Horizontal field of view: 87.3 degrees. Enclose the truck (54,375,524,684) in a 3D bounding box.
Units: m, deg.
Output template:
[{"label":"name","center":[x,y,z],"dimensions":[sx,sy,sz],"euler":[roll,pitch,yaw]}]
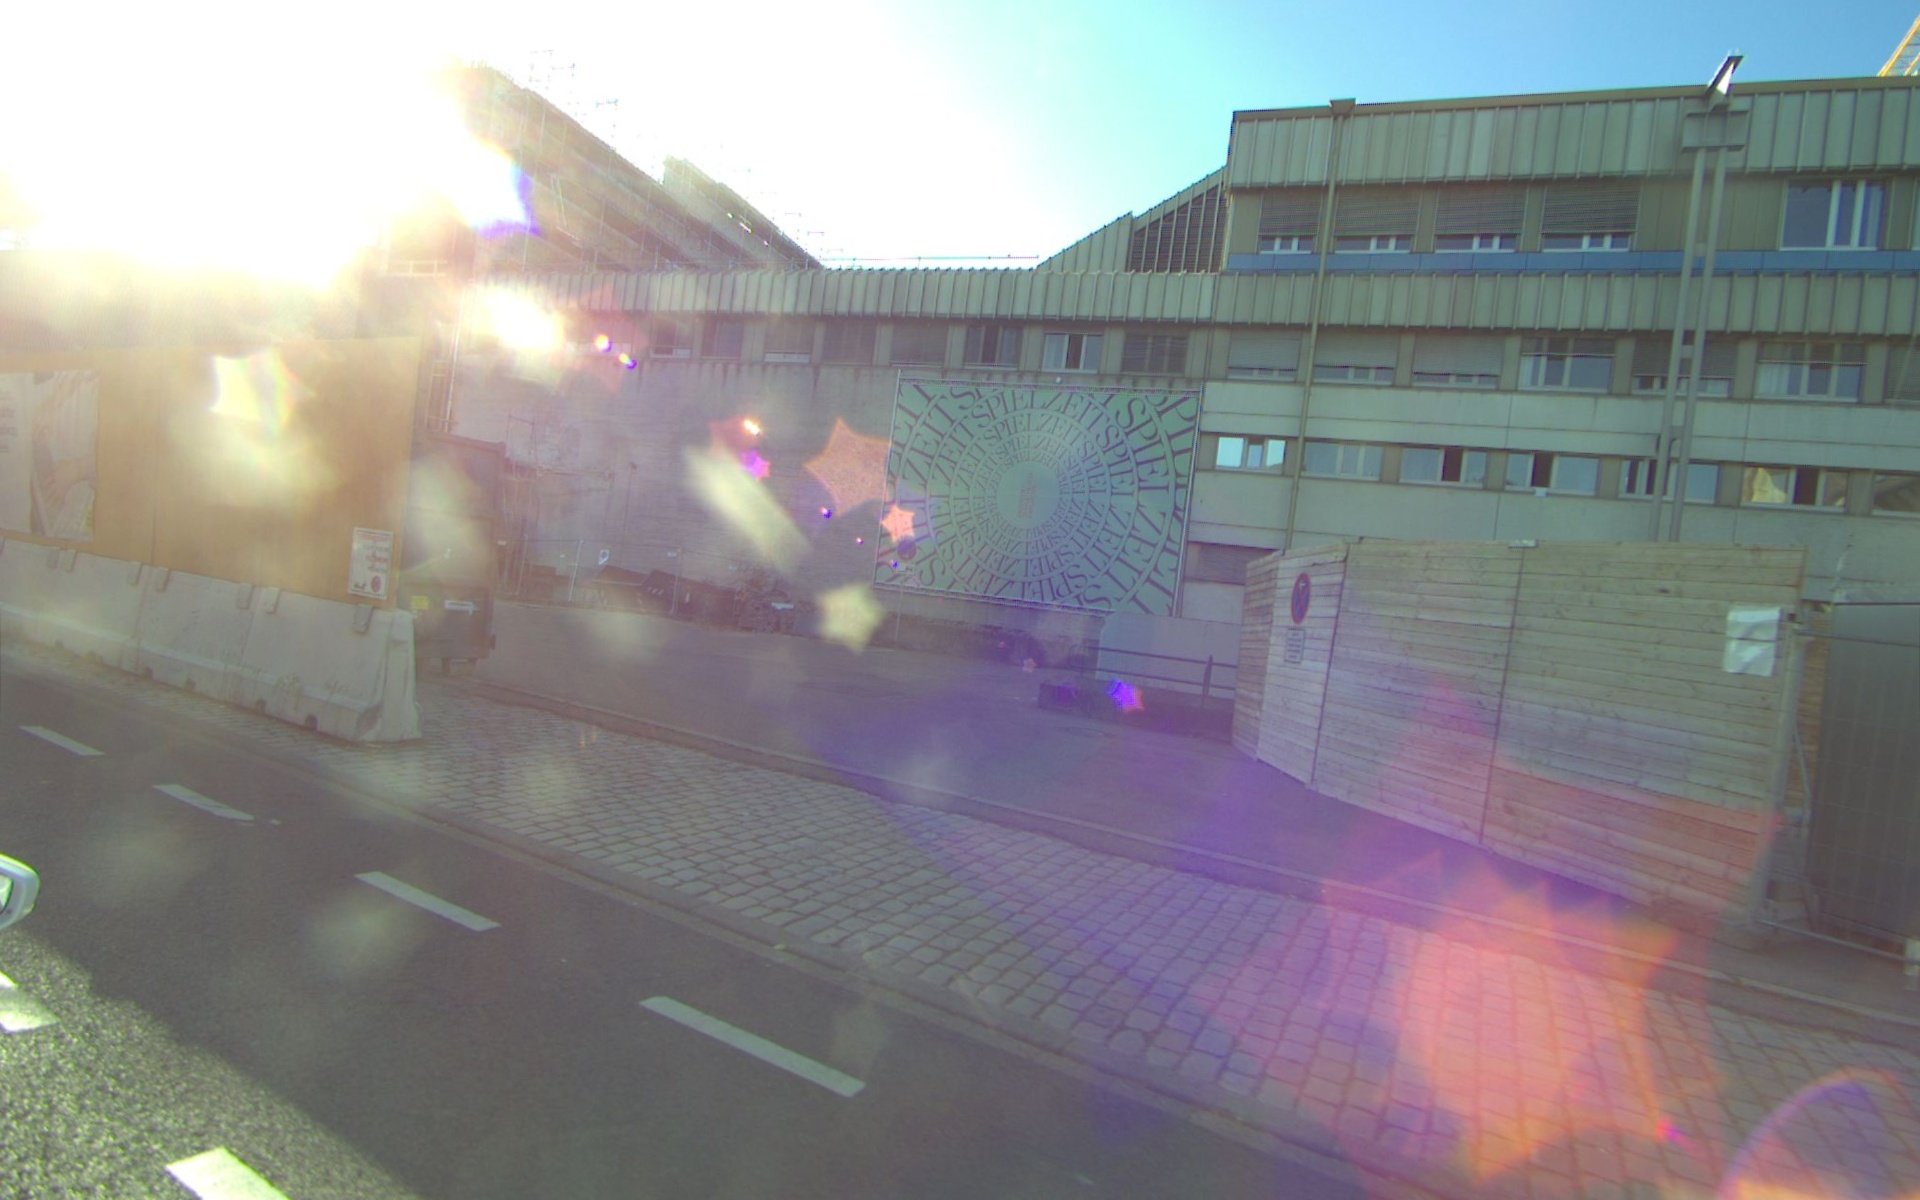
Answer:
[{"label":"truck","center":[-8.130,-0.868,12.050],"dimensions":[5.415,2.947,2.521],"euler":[7,2,32]}]
